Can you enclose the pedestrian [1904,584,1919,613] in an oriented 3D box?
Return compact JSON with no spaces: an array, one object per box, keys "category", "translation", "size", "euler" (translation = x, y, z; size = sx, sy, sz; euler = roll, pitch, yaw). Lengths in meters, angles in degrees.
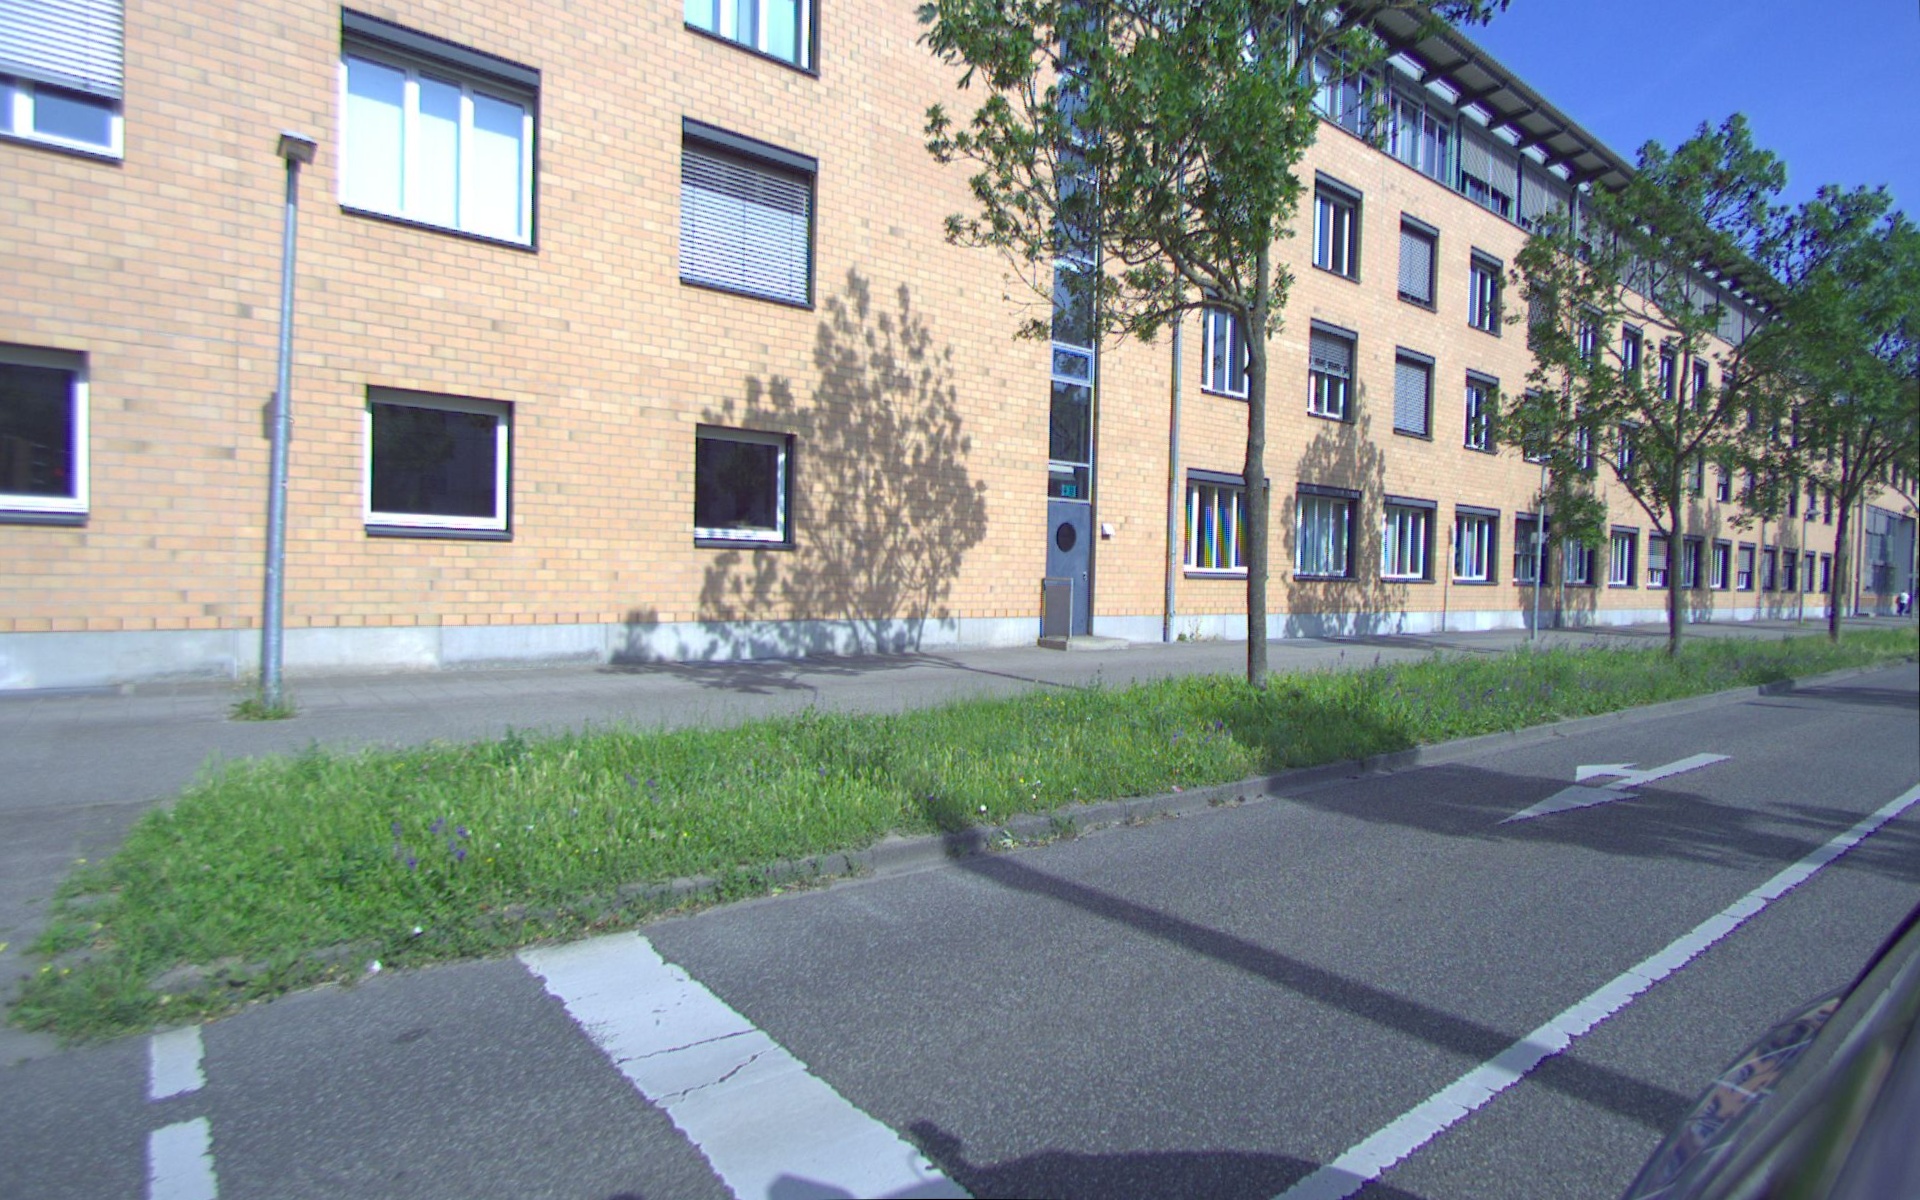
[{"category":"pedestrian","translation":[56.506,-0.087,59.919],"size":[0.759,1.676,0.698],"euler":[-1,3,-38]}]
